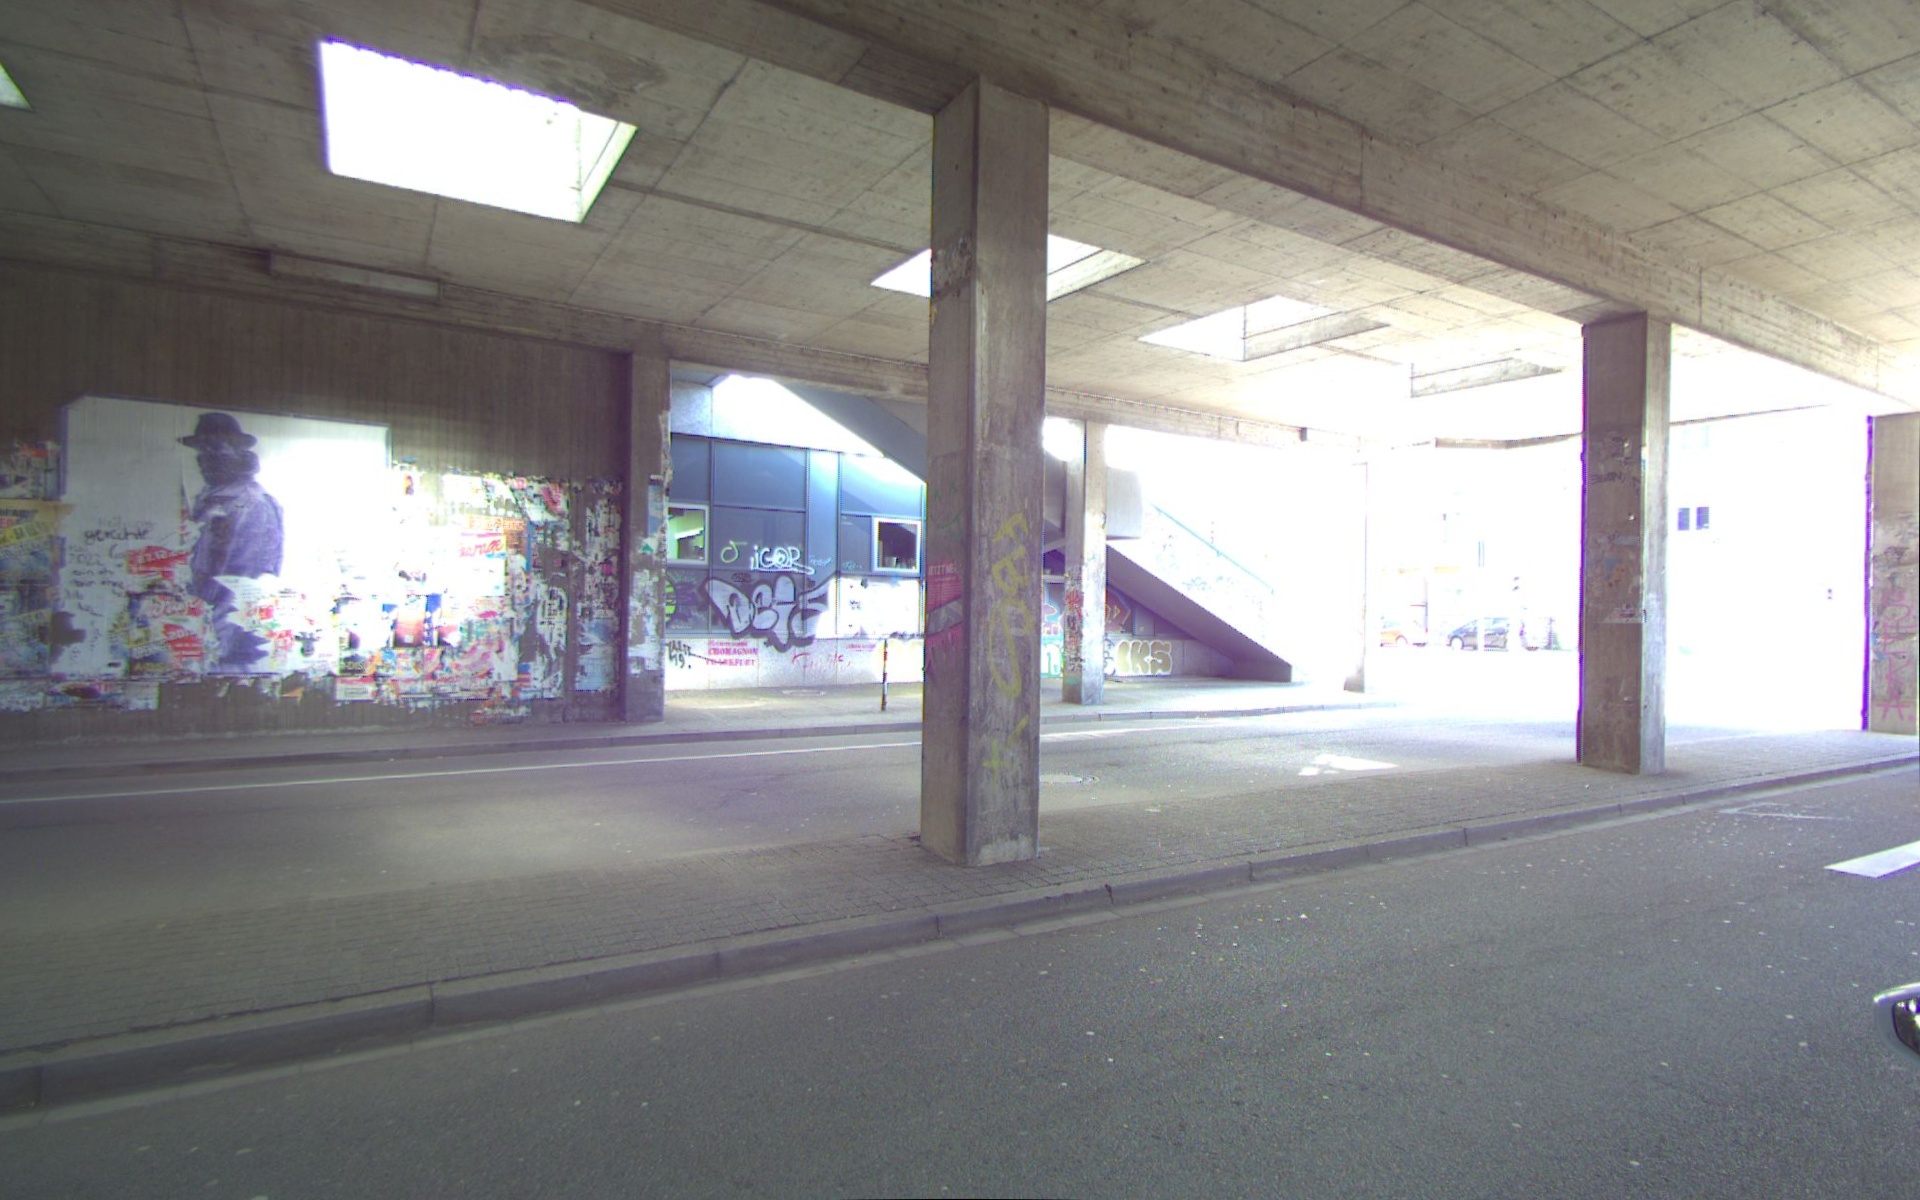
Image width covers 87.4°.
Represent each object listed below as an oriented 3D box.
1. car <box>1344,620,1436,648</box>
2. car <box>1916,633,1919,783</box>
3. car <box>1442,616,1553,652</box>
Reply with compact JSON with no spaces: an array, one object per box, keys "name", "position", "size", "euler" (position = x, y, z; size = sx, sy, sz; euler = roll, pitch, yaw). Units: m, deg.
[{"name":"car","position":[22.506,1.767,52.676],"size":[2.163,1.392,3.971],"euler":[1,-1,-28]},{"name":"car","position":[11.082,1.007,9.630],"size":[4.131,1.466,1.770],"euler":[1,0,-32]},{"name":"car","position":[25.427,1.579,47.665],"size":[2.240,1.571,4.111],"euler":[1,-1,-29]}]
